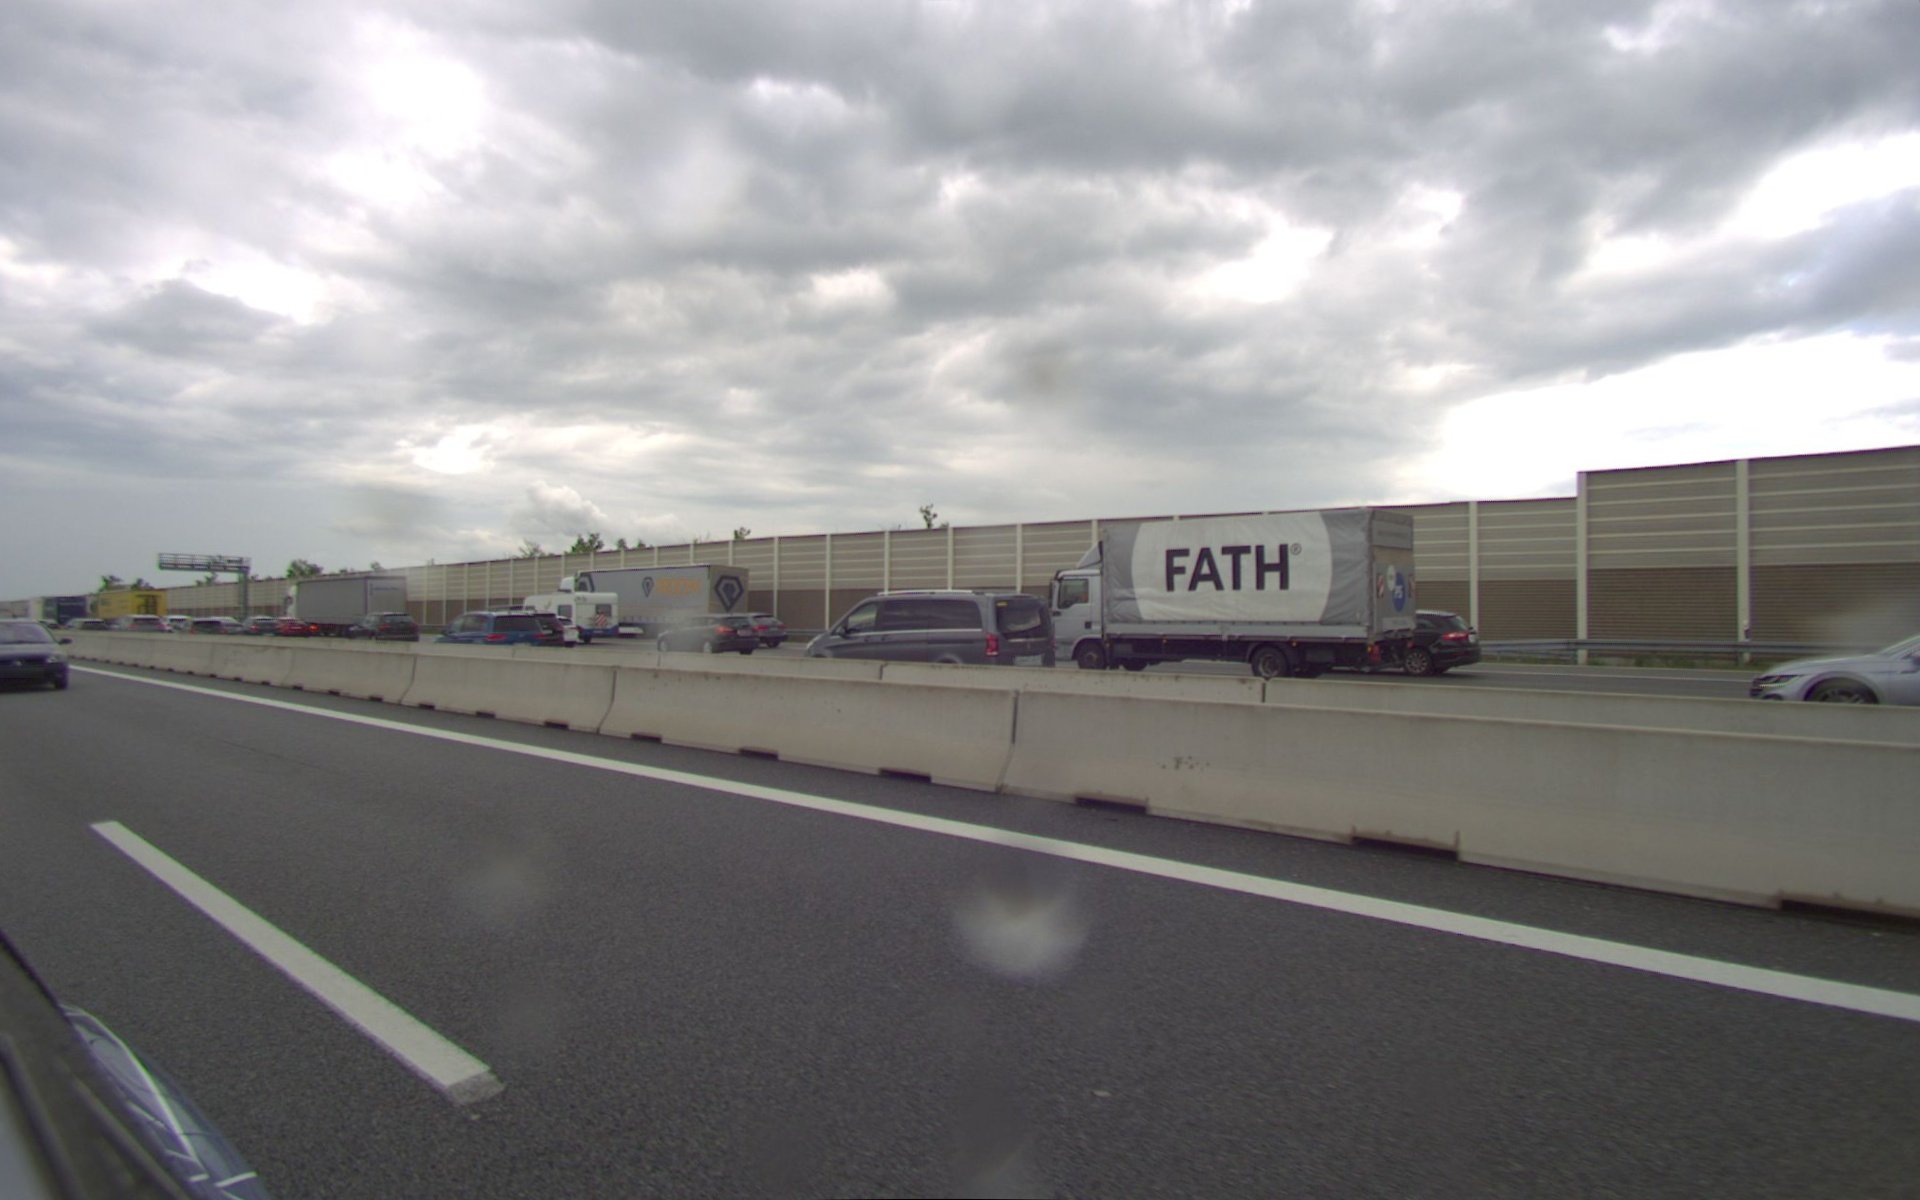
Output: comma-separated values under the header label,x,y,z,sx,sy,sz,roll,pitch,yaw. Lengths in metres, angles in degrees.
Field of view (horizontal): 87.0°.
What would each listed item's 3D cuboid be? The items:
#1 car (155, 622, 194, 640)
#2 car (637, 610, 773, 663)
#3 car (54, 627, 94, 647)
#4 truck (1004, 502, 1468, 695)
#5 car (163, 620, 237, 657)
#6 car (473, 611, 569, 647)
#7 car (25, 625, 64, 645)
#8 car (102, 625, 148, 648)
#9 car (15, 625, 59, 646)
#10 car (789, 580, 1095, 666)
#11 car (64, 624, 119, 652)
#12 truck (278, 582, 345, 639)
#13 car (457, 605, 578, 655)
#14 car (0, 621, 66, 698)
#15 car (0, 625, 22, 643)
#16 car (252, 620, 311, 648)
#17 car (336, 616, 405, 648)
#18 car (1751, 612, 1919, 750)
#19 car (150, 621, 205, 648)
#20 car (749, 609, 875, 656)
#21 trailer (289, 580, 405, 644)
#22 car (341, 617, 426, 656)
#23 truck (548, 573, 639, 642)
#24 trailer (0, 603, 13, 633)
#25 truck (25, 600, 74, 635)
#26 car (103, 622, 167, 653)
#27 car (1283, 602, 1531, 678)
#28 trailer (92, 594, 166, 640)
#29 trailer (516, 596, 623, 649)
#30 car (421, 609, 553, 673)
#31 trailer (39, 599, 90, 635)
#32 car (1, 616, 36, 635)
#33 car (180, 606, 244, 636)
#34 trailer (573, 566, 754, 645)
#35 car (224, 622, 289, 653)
label,x,y,z,sx,sy,sz,roll,pitch,yaw
car,-76.606,2.983,98.712,4.406,1.712,2.041,-2,-2,39
car,-8.944,1.253,35.245,5.084,1.712,2.040,-2,-2,40
car,-80.689,3.351,92.112,4.406,1.712,2.041,-2,-2,39
truck,5.708,0.040,22.927,9.993,3.554,2.667,-1,0,42
car,-37.490,1.889,49.882,4.406,1.712,1.936,-2,-2,39
car,-19.629,1.249,45.147,4.996,1.502,2.038,-1,-1,42
car,-91.854,3.466,101.522,5.801,1.907,2.041,-2,-2,39
car,-66.820,2.908,80.988,4.406,1.712,2.041,-2,-2,39
car,-76.296,2.928,83.629,4.406,1.712,2.041,-2,-2,39
car,-0.484,0.415,17.892,5.595,1.309,1.854,-2,-2,40
car,-59.834,2.577,69.686,4.773,1.830,2.041,-2,-2,39
truck,-48.195,0.830,75.190,5.722,4.065,2.716,-1,-1,41
car,-16.229,1.097,36.975,5.085,1.712,2.040,-2,-2,40
car,-19.278,1.147,20.259,3.998,1.413,1.558,-1,-1,41
car,-111.089,3.943,117.775,5.801,2.018,2.041,-2,-2,39
car,-43.468,2.184,64.798,4.406,1.712,1.936,-2,-2,39
car,-33.057,1.789,56.737,4.406,1.712,1.936,-2,-2,39
car,12.568,0.945,11.955,4.995,1.612,2.039,-1,-1,41
car,-55.176,2.439,71.309,4.773,1.830,2.041,-2,-2,39
car,-5.838,1.247,39.577,5.084,1.712,2.040,-2,-2,40
trailer,-43.054,0.885,70.694,14.445,4.062,2.732,-1,-1,41
car,-26.346,1.650,46.188,4.406,1.712,1.936,-2,-2,39
truck,-22.544,0.477,62.151,5.722,4.065,2.887,-1,-1,41
trailer,-139.857,2.719,146.043,14.303,4.192,3.027,-2,-2,40
truck,-109.201,2.167,121.312,11.059,3.975,2.907,-2,-2,41
car,-48.141,2.175,59.002,4.888,1.712,1.936,-2,-2,39
car,10.467,0.885,23.942,4.995,1.612,2.039,-1,-1,41
trailer,-77.850,1.624,94.647,14.440,4.062,2.733,-1,-1,40
trailer,-19.392,1.123,50.132,6.082,2.514,2.433,-2,-2,41
car,-13.651,1.149,29.128,4.218,1.712,1.854,-2,-2,40
trailer,-101.236,1.964,114.357,10.112,3.969,2.901,-2,-2,41
car,-103.656,2.772,111.401,5.801,2.018,2.041,-2,-2,39
car,-47.046,1.351,63.592,5.108,1.830,2.041,-2,-2,39
trailer,-17.174,0.380,57.475,13.853,4.062,2.905,-1,-1,41
car,-40.035,2.109,57.558,4.406,1.712,1.936,-2,-2,39
